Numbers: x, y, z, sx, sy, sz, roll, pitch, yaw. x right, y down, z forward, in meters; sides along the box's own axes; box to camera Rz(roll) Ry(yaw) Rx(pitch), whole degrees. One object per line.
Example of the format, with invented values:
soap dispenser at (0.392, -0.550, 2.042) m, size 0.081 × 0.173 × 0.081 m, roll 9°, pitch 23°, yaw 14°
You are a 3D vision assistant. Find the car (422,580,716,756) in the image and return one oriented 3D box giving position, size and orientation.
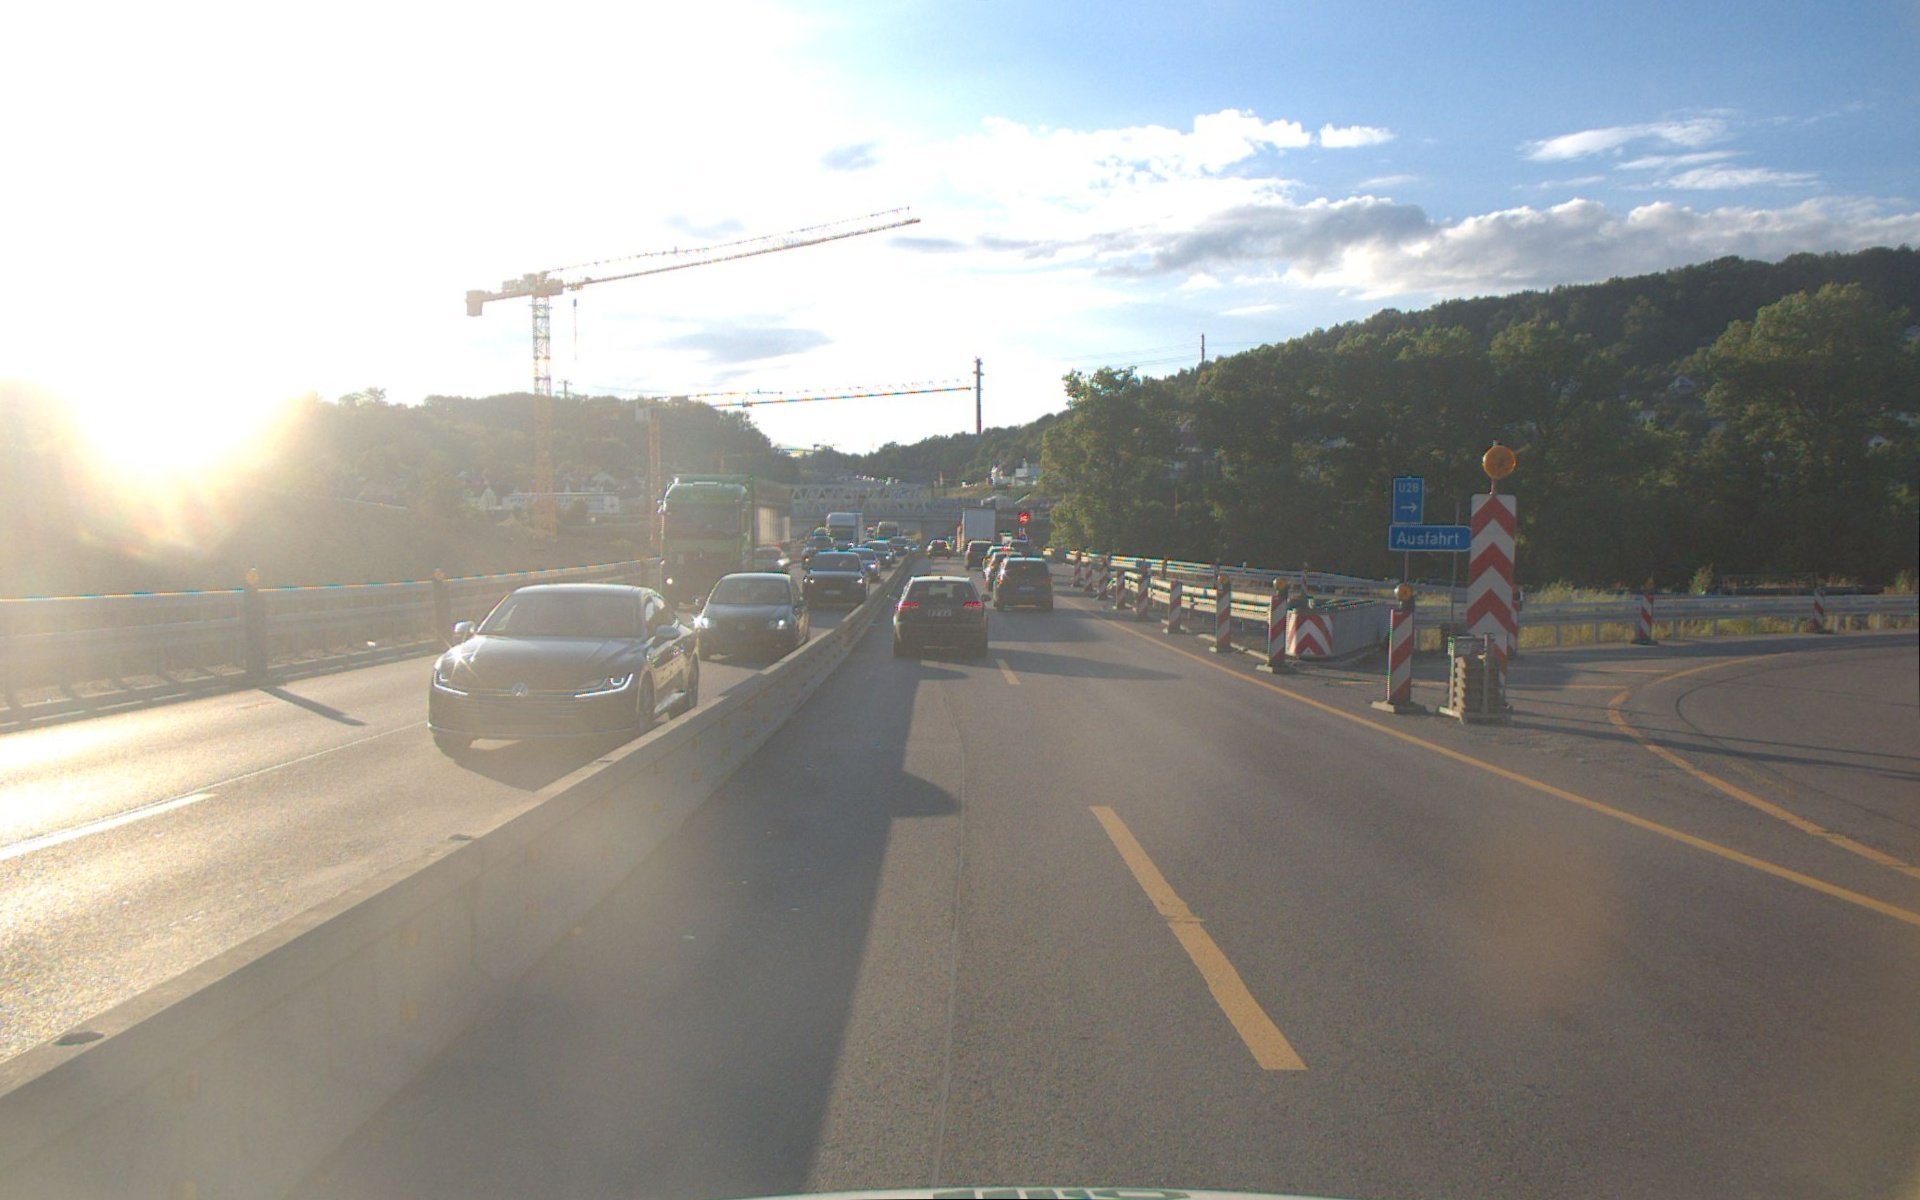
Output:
car at (-3.545, 0.540, 15.849) m, size 1.799 × 1.434 × 4.494 m, roll 0°, pitch 0°, yaw -1°

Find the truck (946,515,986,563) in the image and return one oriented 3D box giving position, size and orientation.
truck at (0.520, -6.325, 170.767) m, size 3.811 × 4.576 × 15.267 m, roll 1°, pitch 2°, yaw -1°

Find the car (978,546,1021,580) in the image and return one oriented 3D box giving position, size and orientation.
car at (1.892, -1.808, 81.540) m, size 1.837 × 1.627 × 4.964 m, roll 0°, pitch 1°, yaw -2°

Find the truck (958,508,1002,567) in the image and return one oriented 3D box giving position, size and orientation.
truck at (1.604, -5.406, 139.111) m, size 3.316 × 4.575 × 15.271 m, roll 1°, pitch 3°, yaw 0°

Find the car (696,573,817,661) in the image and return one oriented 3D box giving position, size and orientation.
car at (-3.548, 0.258, 29.505) m, size 1.680 × 1.434 × 4.327 m, roll 0°, pitch 0°, yaw -1°

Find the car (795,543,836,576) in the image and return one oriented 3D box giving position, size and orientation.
car at (-8.160, -2.316, 93.676) m, size 1.953 × 1.795 × 4.440 m, roll 1°, pitch 2°, yaw -1°

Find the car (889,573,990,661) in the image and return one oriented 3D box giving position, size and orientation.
car at (-0.440, 0.264, 31.020) m, size 1.734 × 1.414 × 3.999 m, roll 1°, pitch 2°, yaw -3°

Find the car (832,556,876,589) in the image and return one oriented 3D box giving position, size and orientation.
car at (-4.931, -1.308, 77.448) m, size 1.823 × 1.457 × 4.155 m, roll 1°, pitch 1°, yaw -1°

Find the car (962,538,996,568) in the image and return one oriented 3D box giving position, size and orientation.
car at (1.072, -2.715, 96.155) m, size 1.778 × 1.660 × 4.410 m, roll 1°, pitch 1°, yaw -1°

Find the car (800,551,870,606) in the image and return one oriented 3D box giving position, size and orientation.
car at (-3.831, -0.660, 51.322) m, size 1.873 × 1.637 × 4.494 m, roll 0°, pitch 0°, yaw -1°

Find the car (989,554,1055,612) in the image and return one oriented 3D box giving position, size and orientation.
car at (1.908, -0.585, 52.091) m, size 1.776 × 1.643 × 4.526 m, roll 0°, pitch 3°, yaw -2°

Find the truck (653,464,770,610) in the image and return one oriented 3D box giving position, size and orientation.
truck at (-7.513, -1.893, 50.644) m, size 2.713 × 4.152 × 5.775 m, roll 1°, pitch 1°, yaw -1°

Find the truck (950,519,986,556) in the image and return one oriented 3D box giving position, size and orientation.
truck at (0.923, -8.078, 214.262) m, size 3.813 × 4.576 × 13.843 m, roll 1°, pitch 2°, yaw -3°

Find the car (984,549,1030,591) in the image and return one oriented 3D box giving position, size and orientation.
car at (1.906, -1.267, 68.299) m, size 1.738 × 1.613 × 4.135 m, roll 1°, pitch 2°, yaw 0°

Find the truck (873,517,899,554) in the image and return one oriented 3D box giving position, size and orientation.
truck at (-8.476, -7.400, 189.550) m, size 2.756 × 4.118 × 5.673 m, roll 0°, pitch 2°, yaw 0°

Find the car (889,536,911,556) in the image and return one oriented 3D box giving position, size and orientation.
car at (-4.958, -4.483, 137.498) m, size 1.790 × 1.668 × 4.529 m, roll 0°, pitch 2°, yaw -2°

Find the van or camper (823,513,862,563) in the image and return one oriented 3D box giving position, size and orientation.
van or camper at (-8.533, -4.530, 120.765) m, size 2.408 × 3.558 × 7.413 m, roll 1°, pitch 2°, yaw -1°

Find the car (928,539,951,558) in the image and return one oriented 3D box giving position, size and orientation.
car at (-1.674, -4.163, 133.095) m, size 1.825 × 1.444 × 4.000 m, roll 2°, pitch 2°, yaw -1°

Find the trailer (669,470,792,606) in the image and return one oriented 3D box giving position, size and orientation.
trailer at (-7.709, -2.075, 57.427) m, size 2.718 × 4.101 × 13.679 m, roll 1°, pitch 1°, yaw -2°
